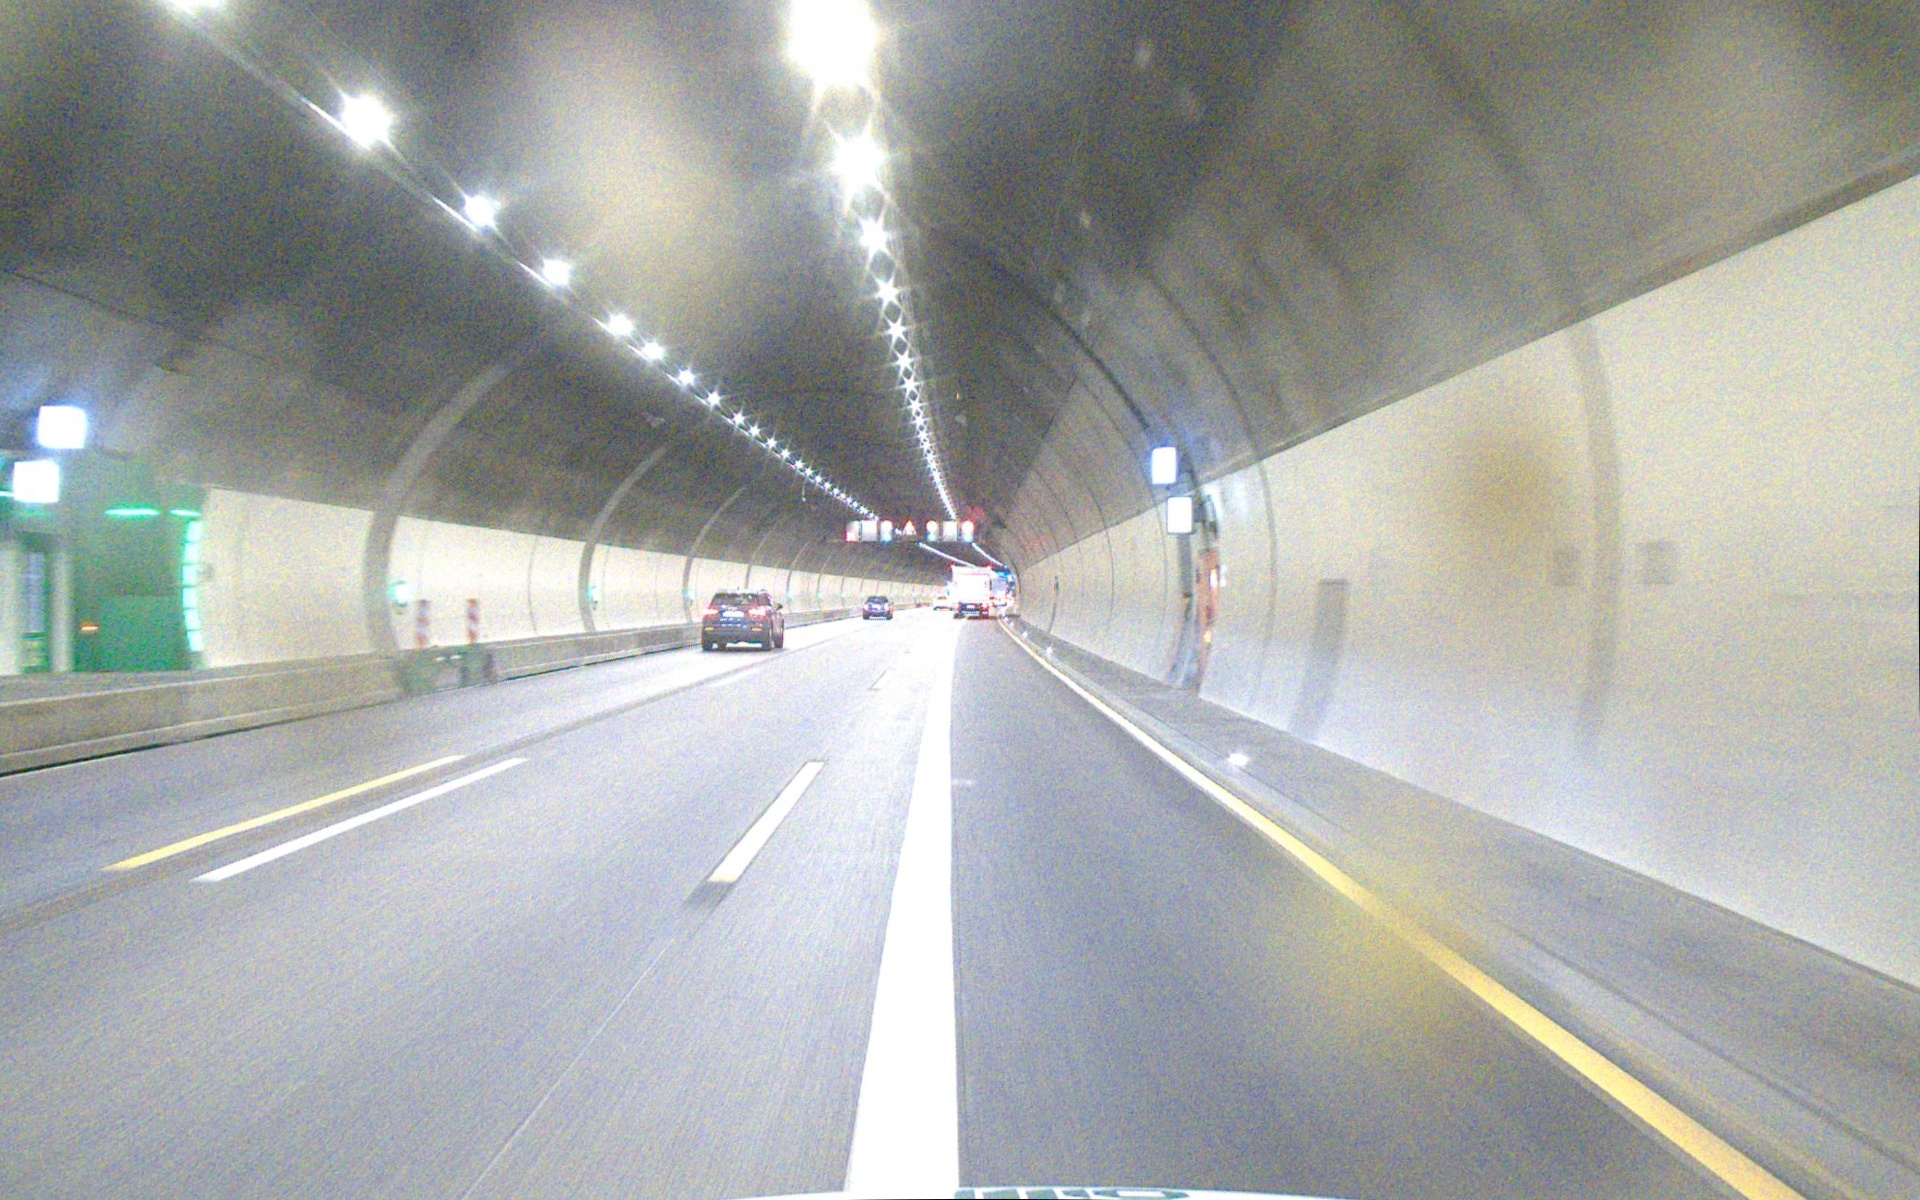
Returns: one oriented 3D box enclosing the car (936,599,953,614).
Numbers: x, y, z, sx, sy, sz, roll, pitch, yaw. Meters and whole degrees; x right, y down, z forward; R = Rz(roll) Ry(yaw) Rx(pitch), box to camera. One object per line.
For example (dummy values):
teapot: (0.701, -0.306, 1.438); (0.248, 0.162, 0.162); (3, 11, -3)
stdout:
car: (-1.483, 0.618, 161.382); (1.617, 1.297, 4.000); (2, 1, 0)

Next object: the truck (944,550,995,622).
truck: (0.537, -0.897, 117.686); (3.212, 4.731, 17.282); (1, 0, -1)

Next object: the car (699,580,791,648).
car: (-5.621, 0.344, 43.734); (1.775, 1.646, 4.001); (2, 0, 1)

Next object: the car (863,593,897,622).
car: (-4.868, 0.447, 100.983); (1.775, 1.546, 4.000); (2, 1, 0)

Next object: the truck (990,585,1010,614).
truck: (6.047, -0.063, 247.071); (2.862, 4.119, 14.032); (1, 0, 2)
